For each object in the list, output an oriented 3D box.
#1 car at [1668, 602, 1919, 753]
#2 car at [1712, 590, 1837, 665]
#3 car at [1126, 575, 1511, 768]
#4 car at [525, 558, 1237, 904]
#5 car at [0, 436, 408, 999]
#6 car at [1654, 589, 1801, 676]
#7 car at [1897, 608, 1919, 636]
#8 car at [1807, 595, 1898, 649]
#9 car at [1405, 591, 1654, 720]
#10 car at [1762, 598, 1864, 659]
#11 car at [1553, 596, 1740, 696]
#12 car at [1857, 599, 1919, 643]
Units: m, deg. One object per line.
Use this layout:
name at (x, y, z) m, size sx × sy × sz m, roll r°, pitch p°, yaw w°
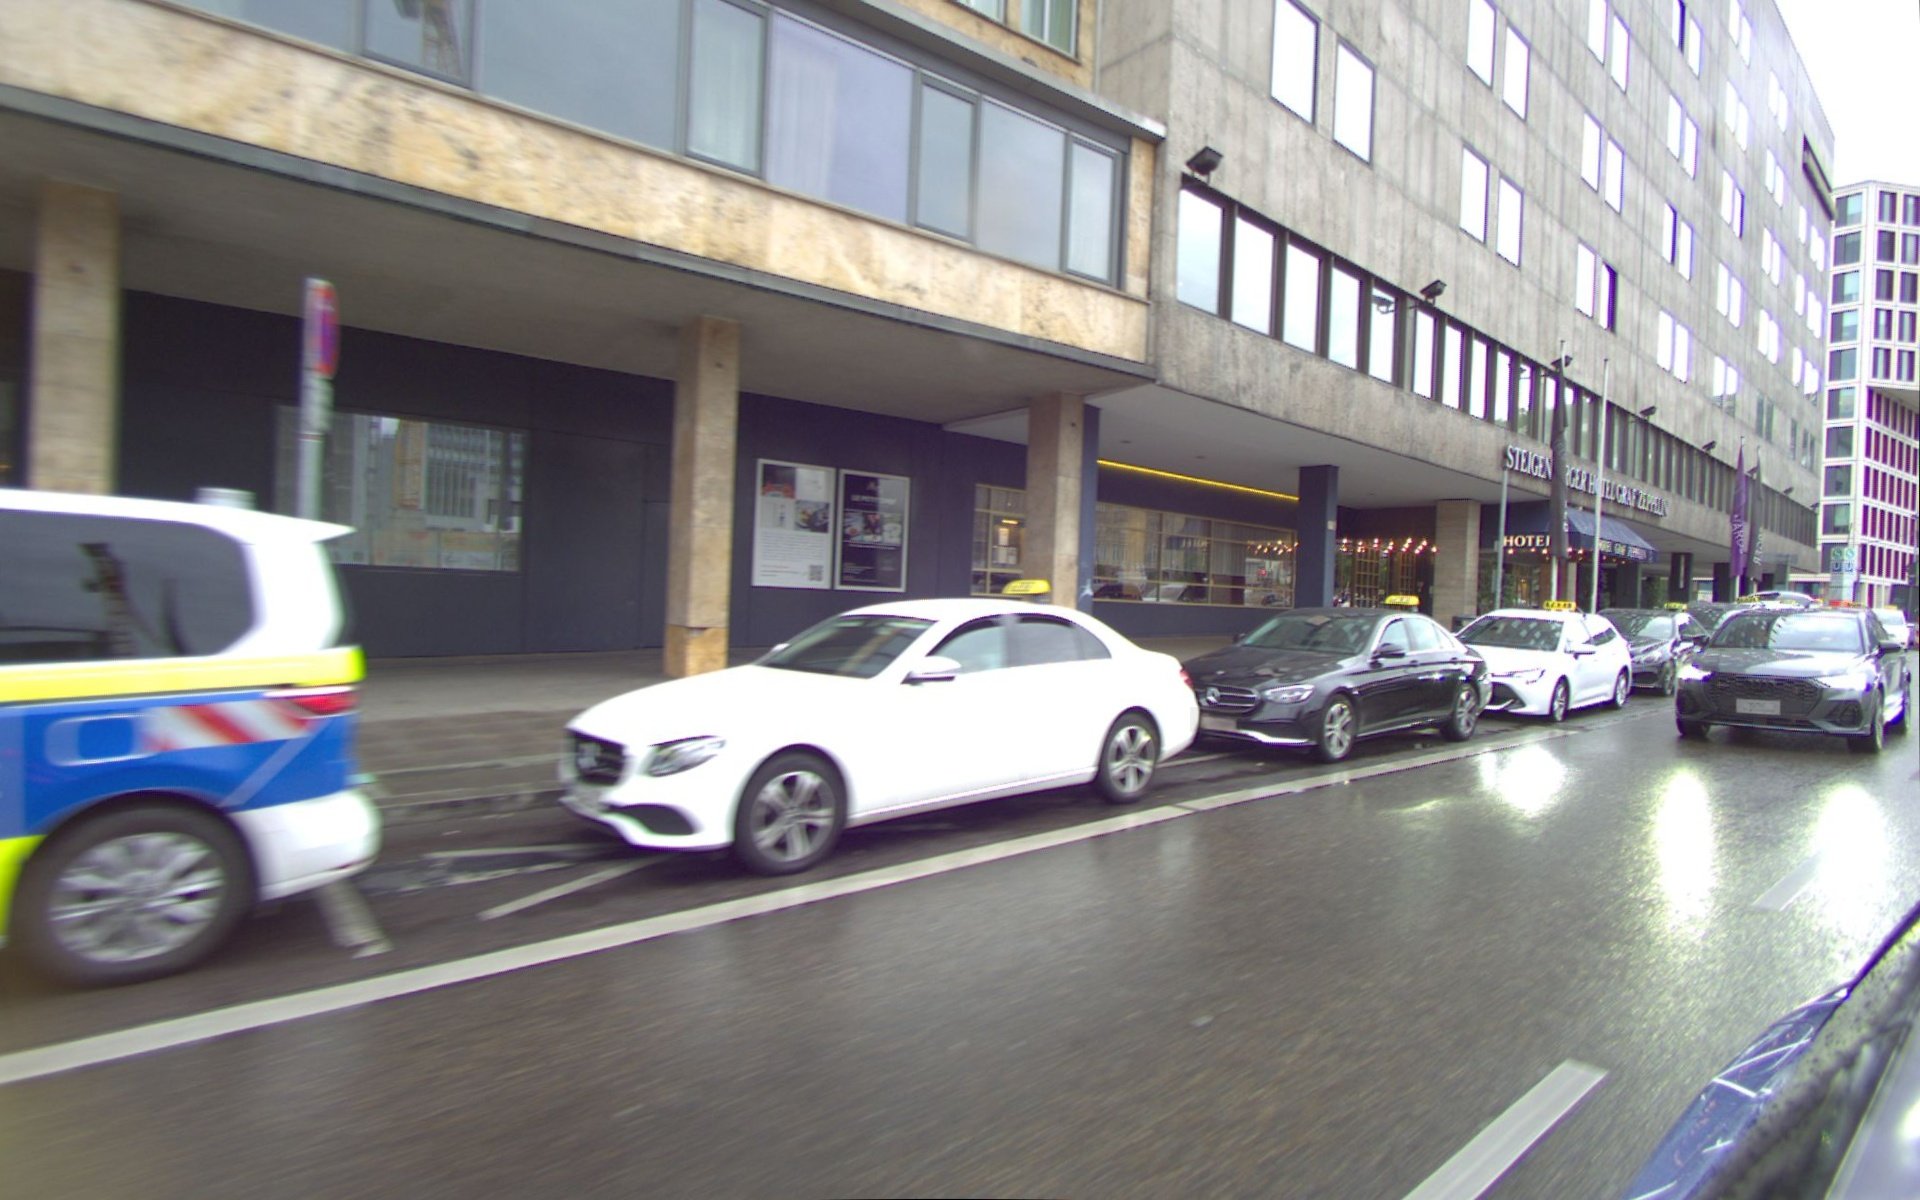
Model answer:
car at (10.492, 0.797, 12.486) m, size 4.266 × 1.520 × 1.882 m, roll 0°, pitch 0°, yaw -40°
car at (21.068, 0.638, 26.104) m, size 4.730 × 1.764 × 1.729 m, roll 0°, pitch 0°, yaw -41°
car at (4.047, 0.602, 10.973) m, size 4.730 × 1.658 × 1.878 m, roll 0°, pitch 0°, yaw -41°
car at (-0.241, 0.616, 7.188) m, size 4.924 × 1.658 × 1.878 m, roll 0°, pitch 0°, yaw -41°
car at (-4.793, 0.403, 3.444) m, size 4.849 × 1.944 × 1.878 m, roll 0°, pitch 0°, yaw -41°
car at (17.273, 0.650, 22.685) m, size 4.730 × 1.764 × 1.729 m, roll 0°, pitch 0°, yaw -41°
car at (54.271, 1.234, 56.184) m, size 1.847 × 1.488 × 3.973 m, roll 0°, pitch 0°, yaw 20°
car at (29.062, 0.666, 32.912) m, size 3.931 × 1.634 × 1.729 m, roll 0°, pitch 0°, yaw -41°
car at (8.470, 0.677, 14.857) m, size 4.730 × 1.612 × 1.729 m, roll 0°, pitch 0°, yaw -41°
car at (25.087, 0.778, 29.727) m, size 3.931 × 1.634 × 1.729 m, roll 0°, pitch 0°, yaw -41°
car at (12.739, 0.741, 18.654) m, size 4.730 × 1.612 × 1.729 m, roll 0°, pitch 0°, yaw -41°
car at (36.621, 0.775, 39.671) m, size 3.931 × 1.634 × 1.729 m, roll 0°, pitch 0°, yaw -41°
